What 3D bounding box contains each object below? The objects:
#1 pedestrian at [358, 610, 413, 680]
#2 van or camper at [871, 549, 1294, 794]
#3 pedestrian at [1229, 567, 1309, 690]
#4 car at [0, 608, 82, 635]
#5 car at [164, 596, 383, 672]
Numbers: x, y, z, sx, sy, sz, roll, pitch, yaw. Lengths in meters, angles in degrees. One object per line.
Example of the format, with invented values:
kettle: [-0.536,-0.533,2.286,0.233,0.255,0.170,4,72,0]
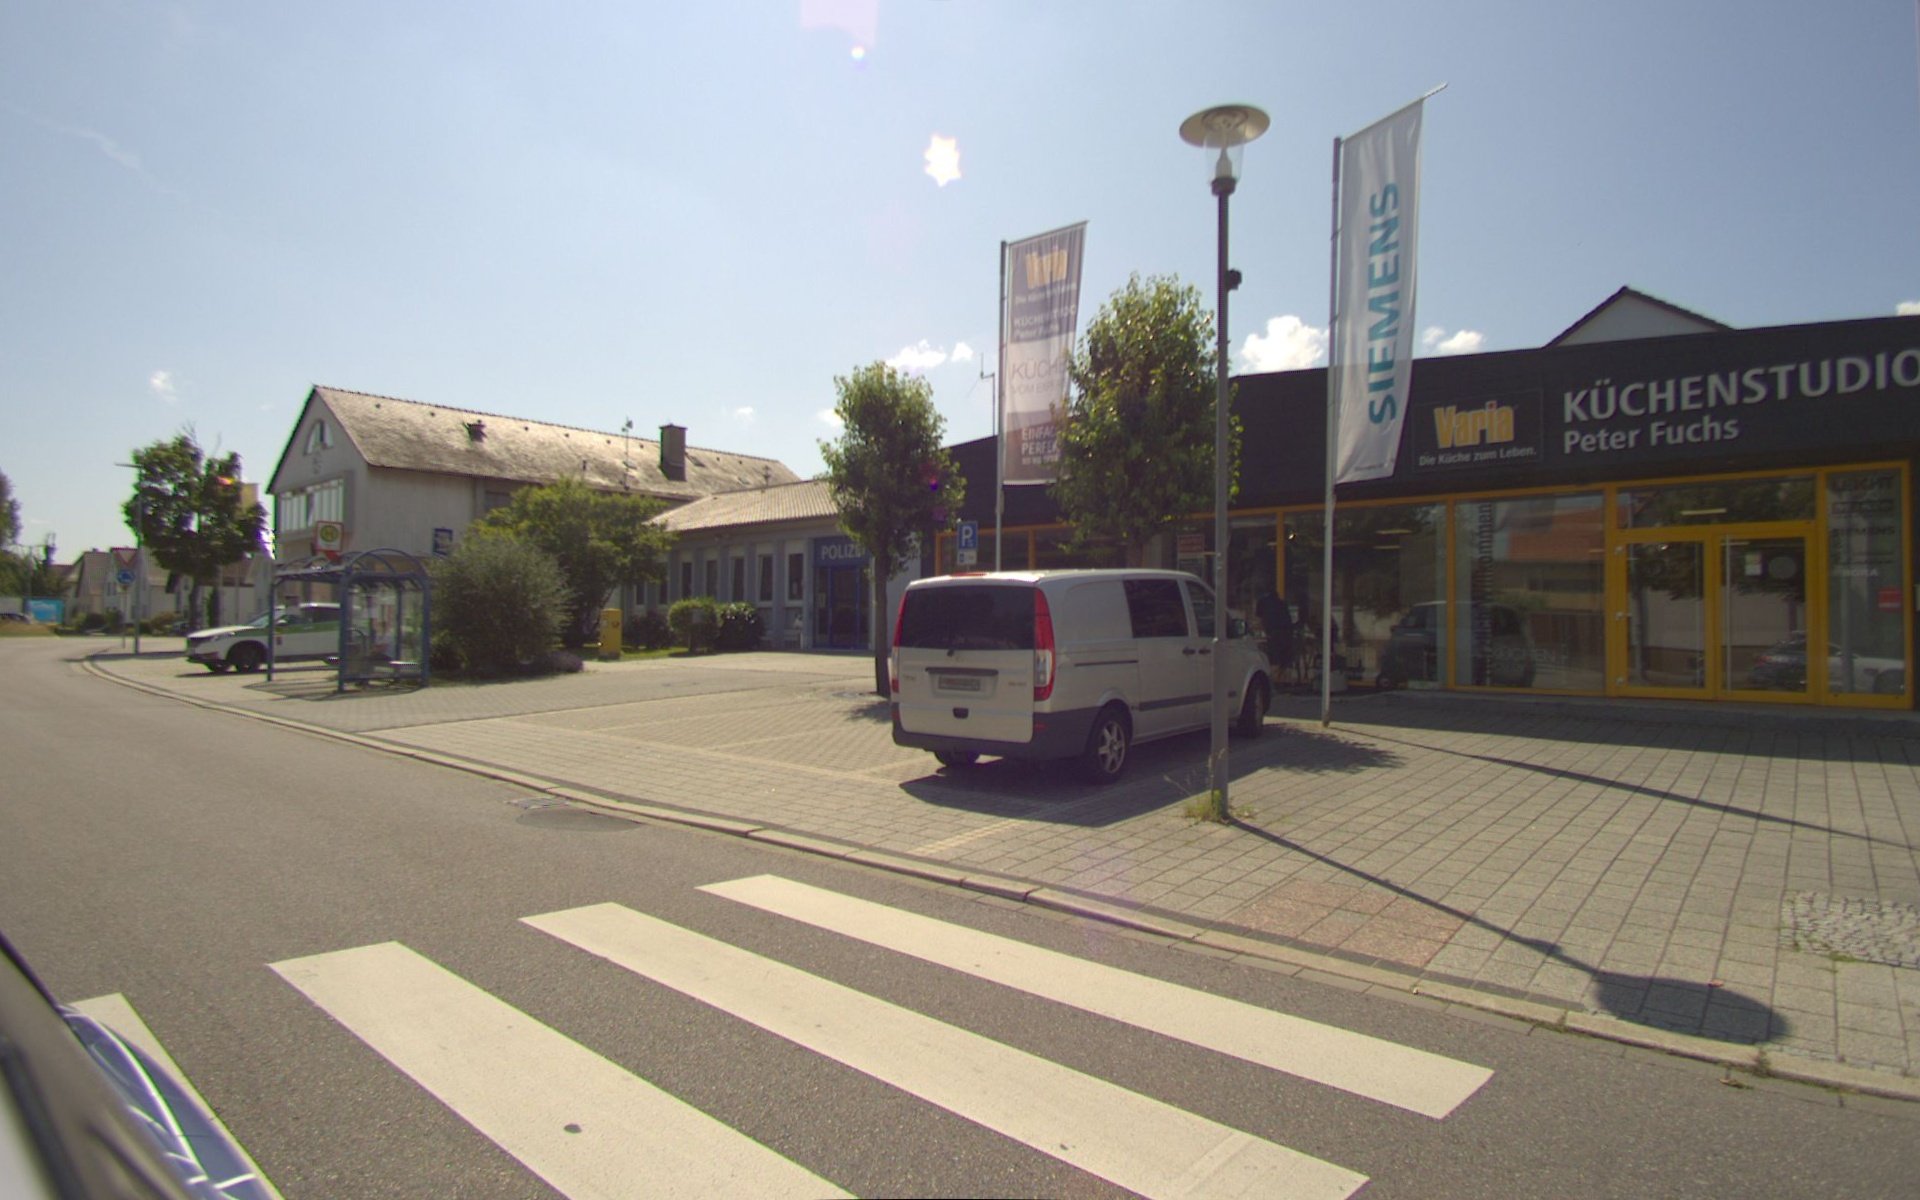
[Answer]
pedestrian: [-11.551,0.895,20.357,0.607,1.368,0.776,-1,-2,41]
van or camper: [1.474,0.572,10.198,1.998,1.877,4.692,-2,-1,40]
pedestrian: [4.663,0.428,15.341,0.922,1.788,1.069,1,-2,4]
car: [-54.531,1.254,59.597,3.931,1.504,2.006,0,0,-29]
car: [-17.268,0.786,25.645,1.941,1.732,4.202,0,0,35]
